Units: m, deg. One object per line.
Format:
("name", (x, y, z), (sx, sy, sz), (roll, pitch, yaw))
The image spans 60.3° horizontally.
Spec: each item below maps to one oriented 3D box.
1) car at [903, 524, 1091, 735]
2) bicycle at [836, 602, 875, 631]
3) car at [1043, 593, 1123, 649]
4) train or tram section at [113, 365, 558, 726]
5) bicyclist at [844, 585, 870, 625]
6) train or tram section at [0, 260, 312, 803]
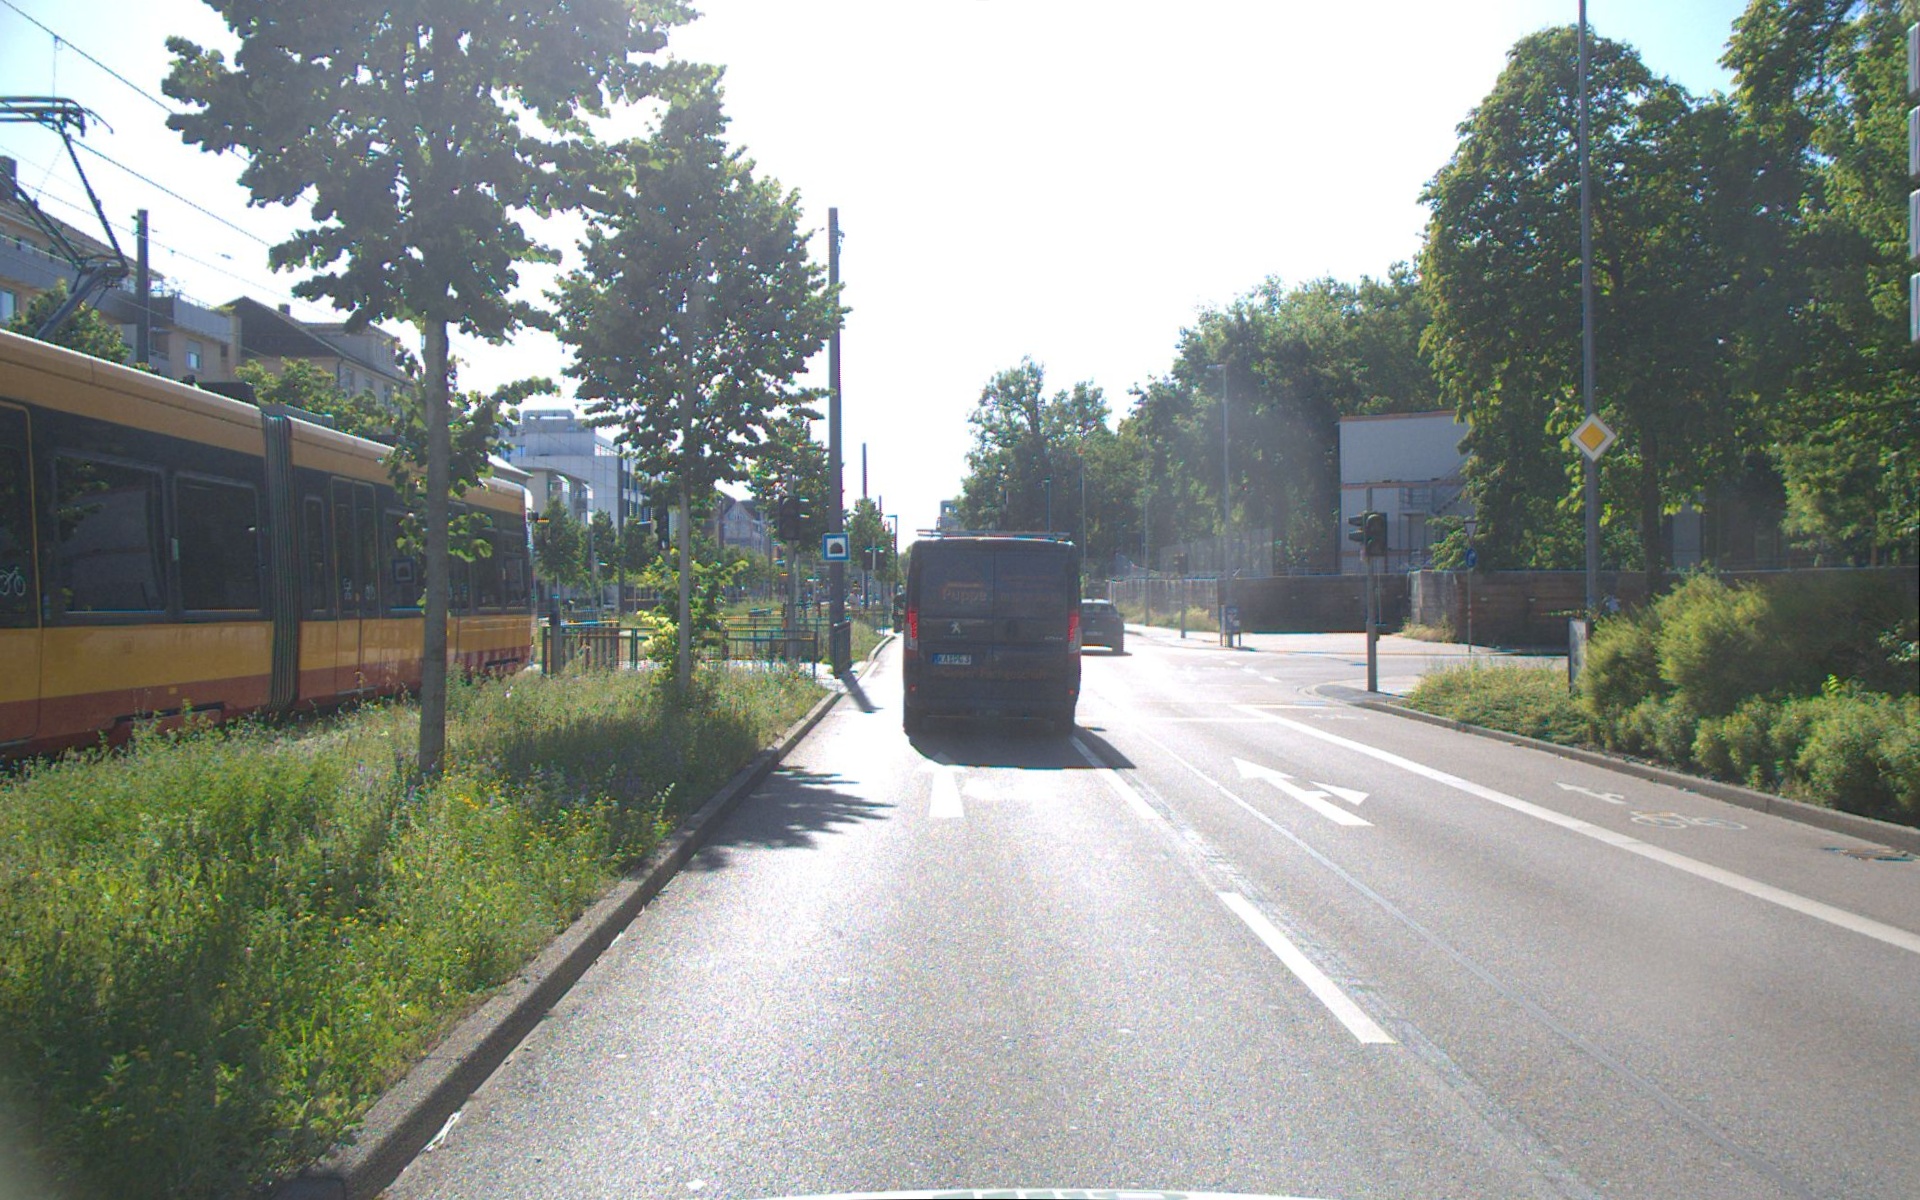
("car", (0.347, 0.320, 20.025), (2.040, 2.288, 3.998), (0, 0, -2))
("bicycle", (-4.067, 0.631, 64.278), (0.724, 1.110, 2.064), (0, 0, -27))
("car", (3.380, 0.569, 46.232), (1.728, 1.488, 3.997), (0, 0, -3))
("train or tram section", (-7.894, -0.567, 22.998), (1.953, 3.733, 11.680), (0, 0, -1))
("bicyclist", (-4.002, 0.203, 64.171), (0.816, 1.539, 0.723), (0, 0, -27))
("train or tram section", (-7.578, -0.474, 11.542), (1.953, 3.733, 11.312), (0, 0, -2))
